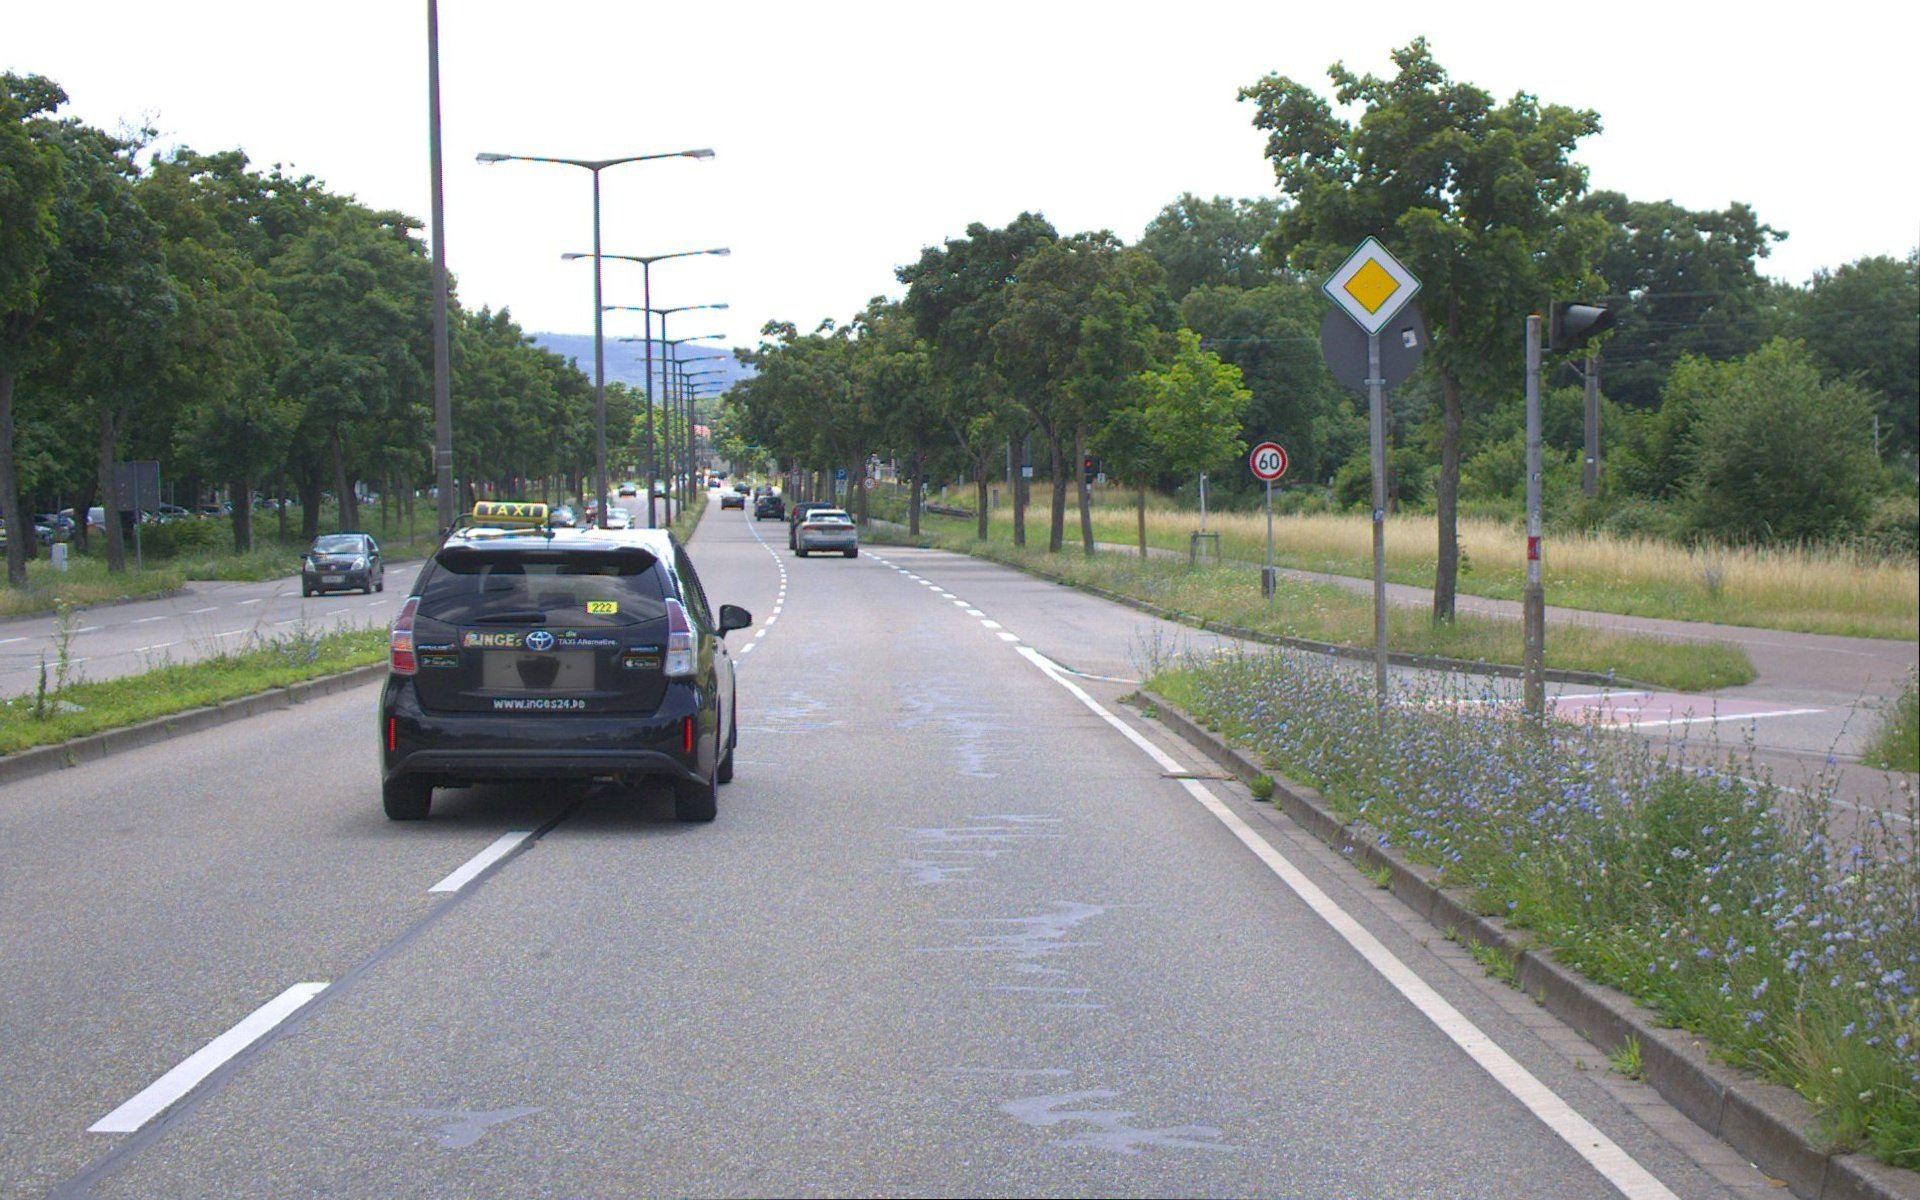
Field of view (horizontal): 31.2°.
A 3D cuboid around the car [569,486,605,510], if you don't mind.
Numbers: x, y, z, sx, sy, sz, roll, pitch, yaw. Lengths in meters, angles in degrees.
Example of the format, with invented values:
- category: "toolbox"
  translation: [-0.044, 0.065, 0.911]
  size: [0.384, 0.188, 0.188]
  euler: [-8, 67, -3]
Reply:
- category: "car"
  translation: [-23.922, -6.557, 220.677]
  size: [1.879, 1.503, 3.798]
  euler: [1, 2, 0]

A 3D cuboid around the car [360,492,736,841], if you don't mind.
- category: "car"
  translation: [-2.190, 0.274, 19.183]
  size: [1.779, 1.678, 4.001]
  euler: [1, 2, -3]

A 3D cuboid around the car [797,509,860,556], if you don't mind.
- category: "car"
  translation: [-4.555, -2.358, 118.768]
  size: [1.993, 1.503, 4.001]
  euler: [1, 2, -5]

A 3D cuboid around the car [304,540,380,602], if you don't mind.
- category: "car"
  translation: [-14.777, -0.699, 82.050]
  size: [1.700, 1.422, 3.676]
  euler: [-1, 1, -11]

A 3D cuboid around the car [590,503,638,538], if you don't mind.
- category: "car"
  translation: [-14.934, -3.459, 148.724]
  size: [1.810, 1.393, 4.735]
  euler: [-1, 2, -3]

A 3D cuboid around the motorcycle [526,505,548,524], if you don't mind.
- category: "motorcycle"
  translation: [-18.645, -3.784, 151.557]
  size: [0.751, 0.769, 2.672]
  euler: [1, 2, -2]

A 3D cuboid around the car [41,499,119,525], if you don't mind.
- category: "car"
  translation: [-48.341, -4.842, 188.906]
  size: [3.785, 1.383, 1.786]
  euler: [1, 2, 1]

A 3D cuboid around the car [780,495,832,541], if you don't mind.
- category: "car"
  translation: [-5.965, -3.201, 133.539]
  size: [1.993, 1.656, 4.001]
  euler: [1, 2, -2]
